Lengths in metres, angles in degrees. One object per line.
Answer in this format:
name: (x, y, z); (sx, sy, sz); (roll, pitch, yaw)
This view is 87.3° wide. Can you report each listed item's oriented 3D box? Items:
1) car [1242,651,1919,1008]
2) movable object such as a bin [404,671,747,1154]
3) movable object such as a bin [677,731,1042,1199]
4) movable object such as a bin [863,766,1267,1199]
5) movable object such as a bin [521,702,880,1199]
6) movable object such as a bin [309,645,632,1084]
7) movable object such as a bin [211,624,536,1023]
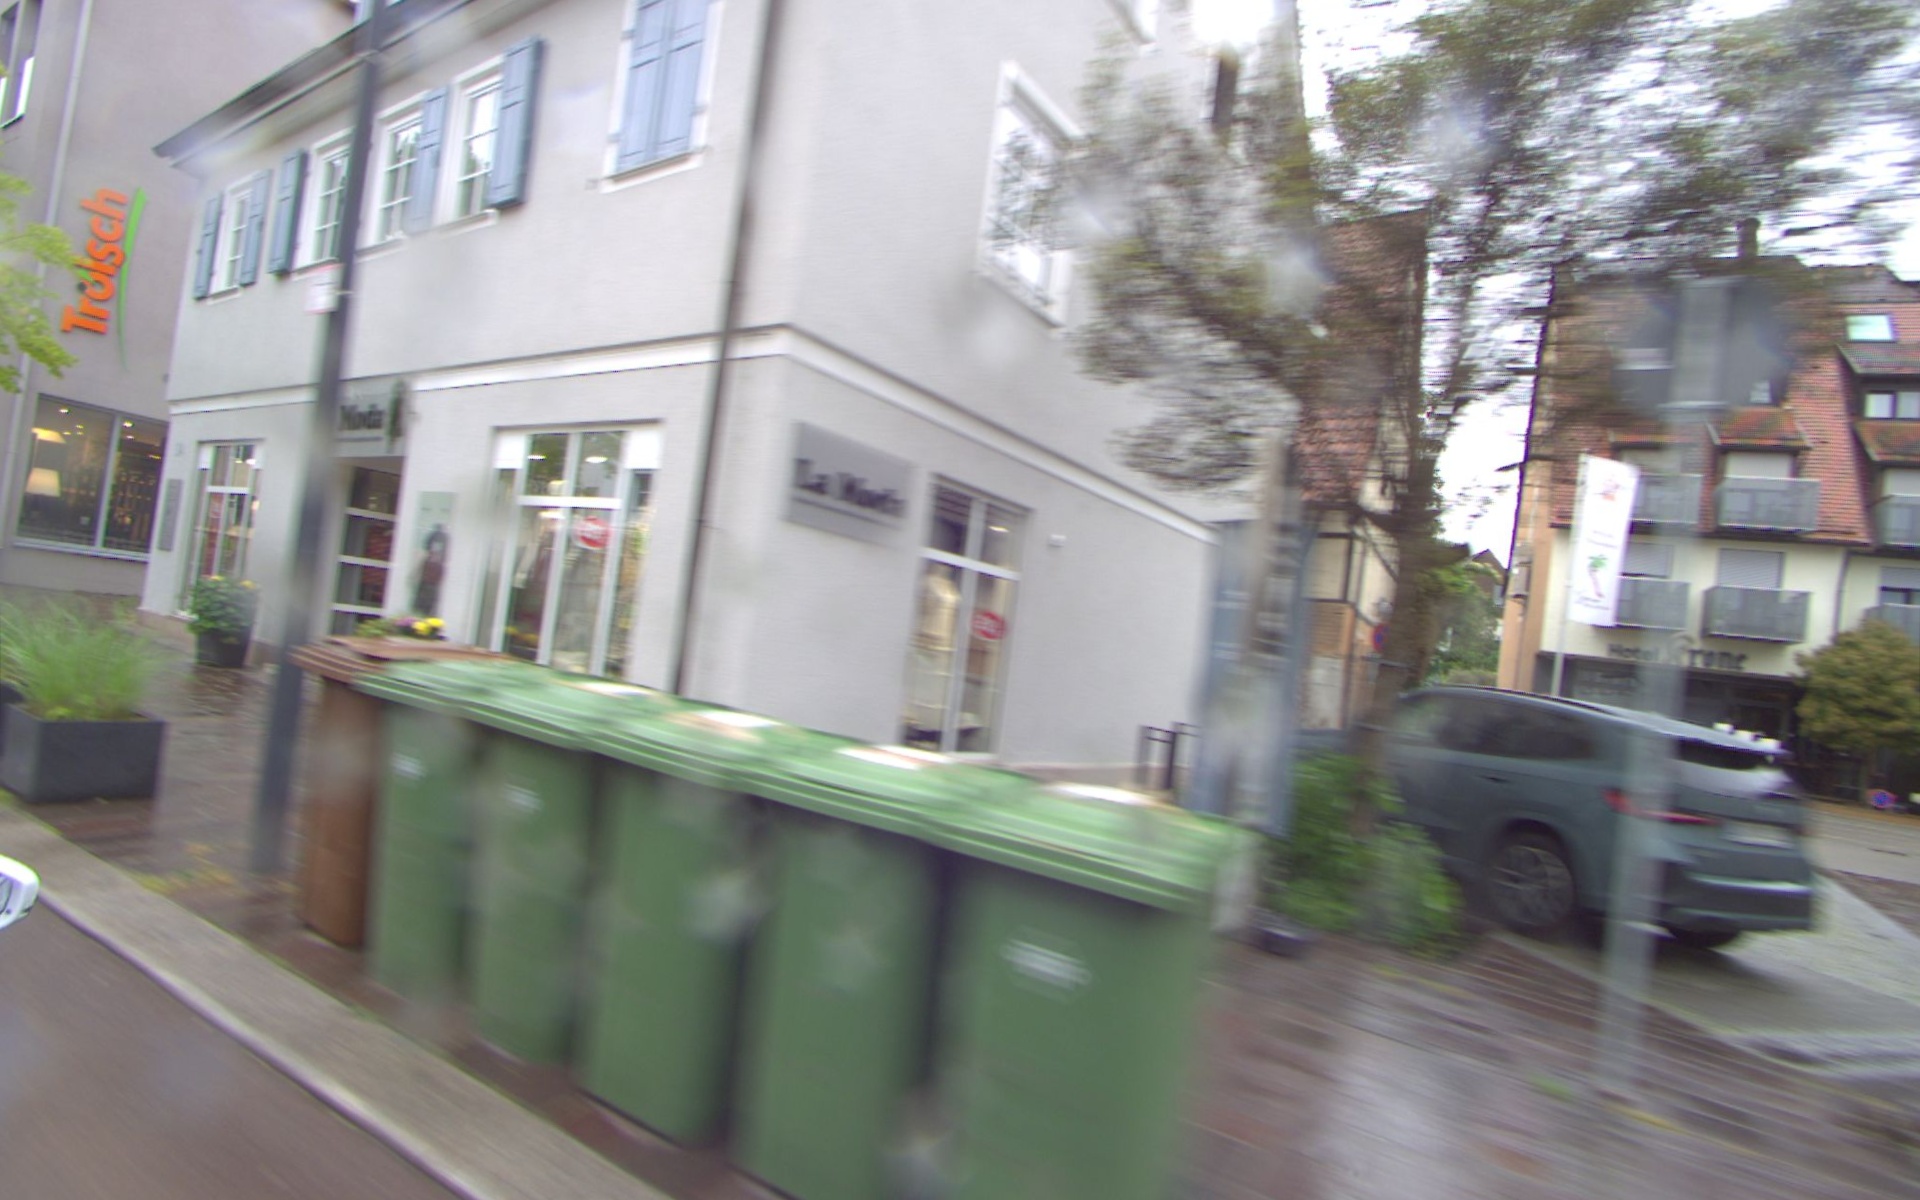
car: (4.343, 1.515, 8.030); (1.798, 1.675, 4.343); (8, 0, -17)
movable object such as a bin: (-1.185, 0.891, 3.167); (0.555, 1.246, 0.679); (6, -2, 32)
movable object such as a bin: (-0.241, 1.008, 2.612); (0.534, 1.259, 0.659); (6, -2, 32)
movable object such as a bin: (0.250, 1.068, 2.314); (0.611, 1.253, 0.659); (6, -2, 32)
movable object such as a bin: (-0.714, 0.966, 2.881); (0.534, 1.270, 0.679); (6, -2, 32)
movable object such as a bin: (-1.661, 0.836, 3.467); (0.555, 1.264, 0.679); (6, -2, 32)
movable object such as a bin: (-2.204, 0.778, 3.809); (0.719, 1.255, 0.679); (6, -2, 32)
